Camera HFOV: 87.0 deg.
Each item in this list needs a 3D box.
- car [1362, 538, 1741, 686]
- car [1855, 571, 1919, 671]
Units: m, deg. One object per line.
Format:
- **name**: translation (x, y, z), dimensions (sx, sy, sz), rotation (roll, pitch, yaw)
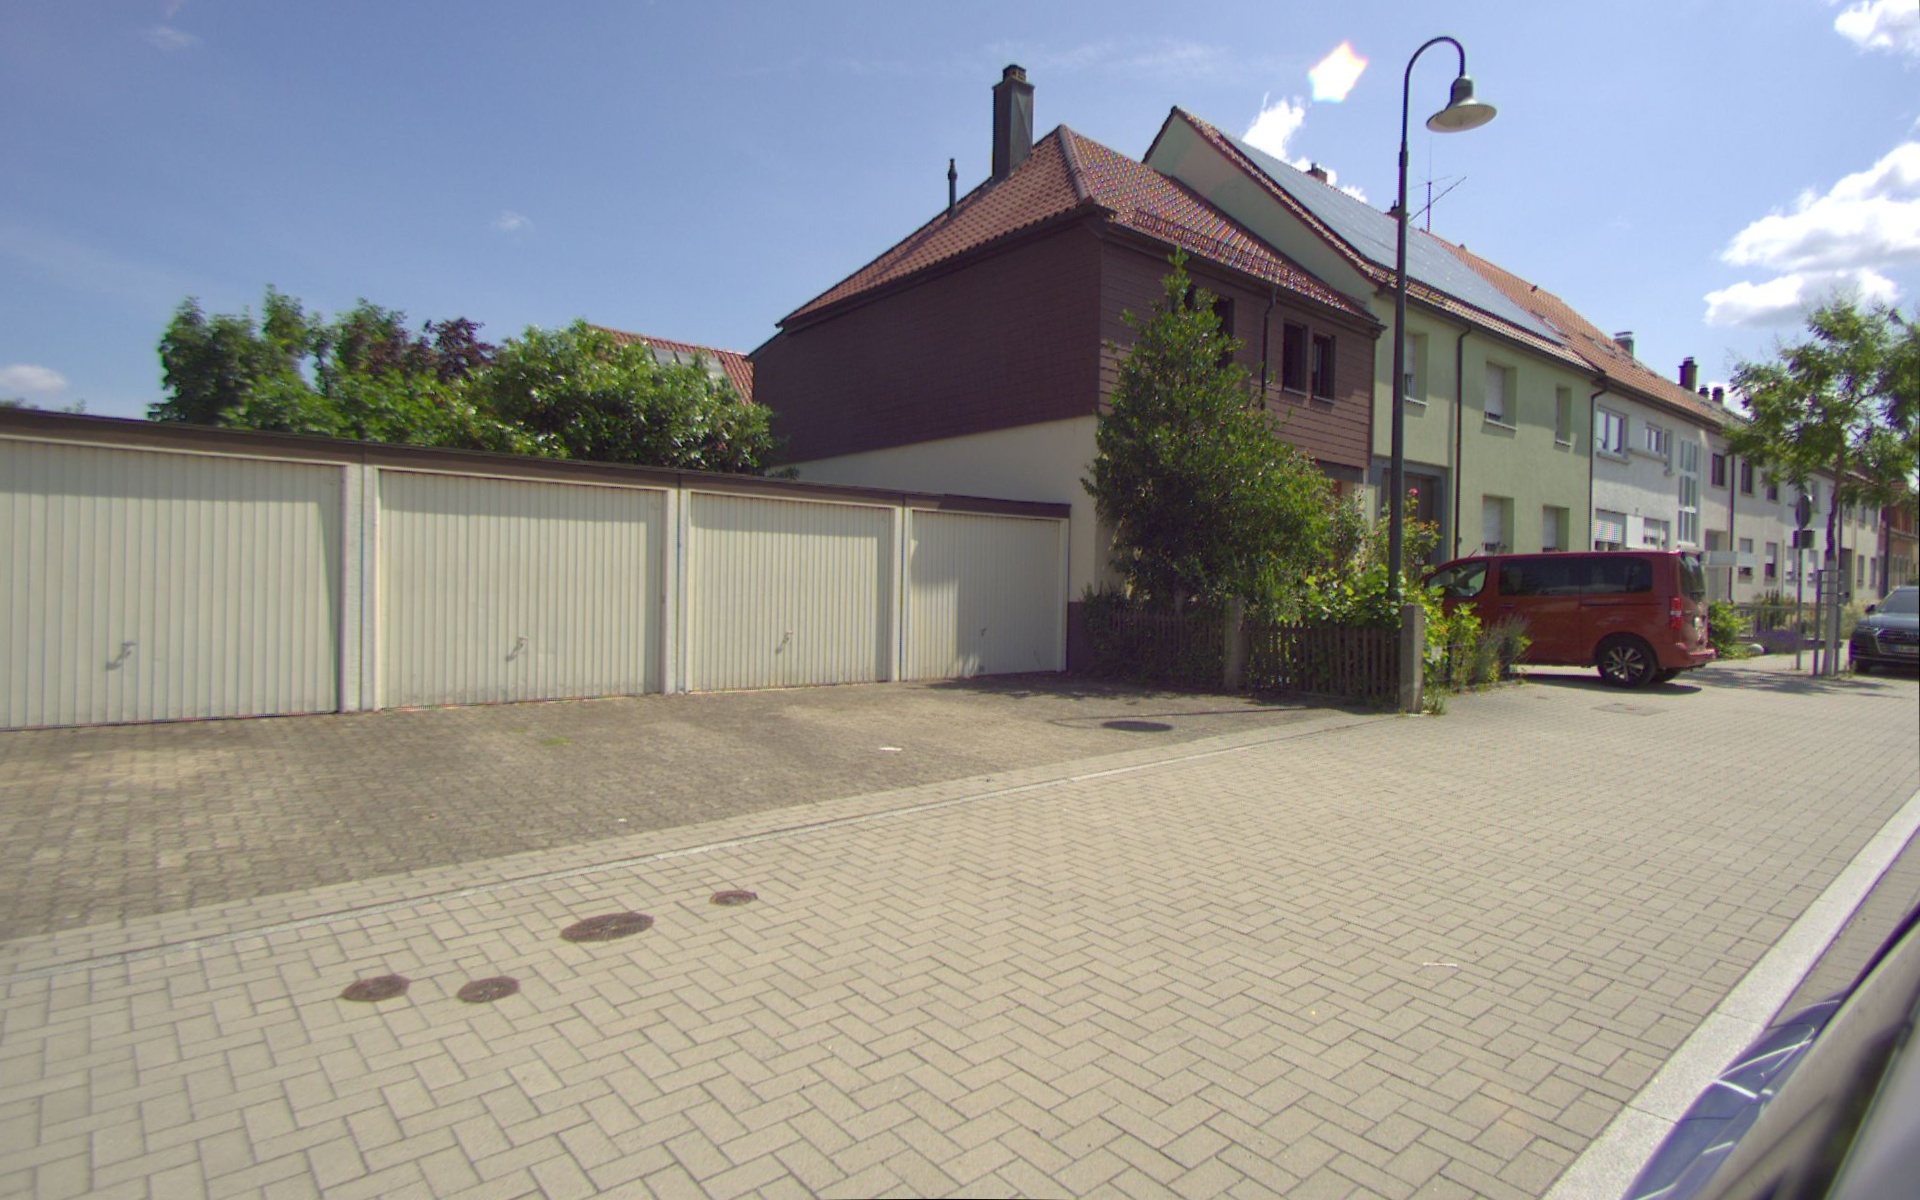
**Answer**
- **car**: translation (8.845, 0.113, 15.475), dimensions (1.986, 1.917, 4.626), rotation (-1, 1, -41)
- **car**: translation (18.151, 0.397, 18.498), dimensions (4.365, 1.655, 1.870), rotation (0, 3, -38)
